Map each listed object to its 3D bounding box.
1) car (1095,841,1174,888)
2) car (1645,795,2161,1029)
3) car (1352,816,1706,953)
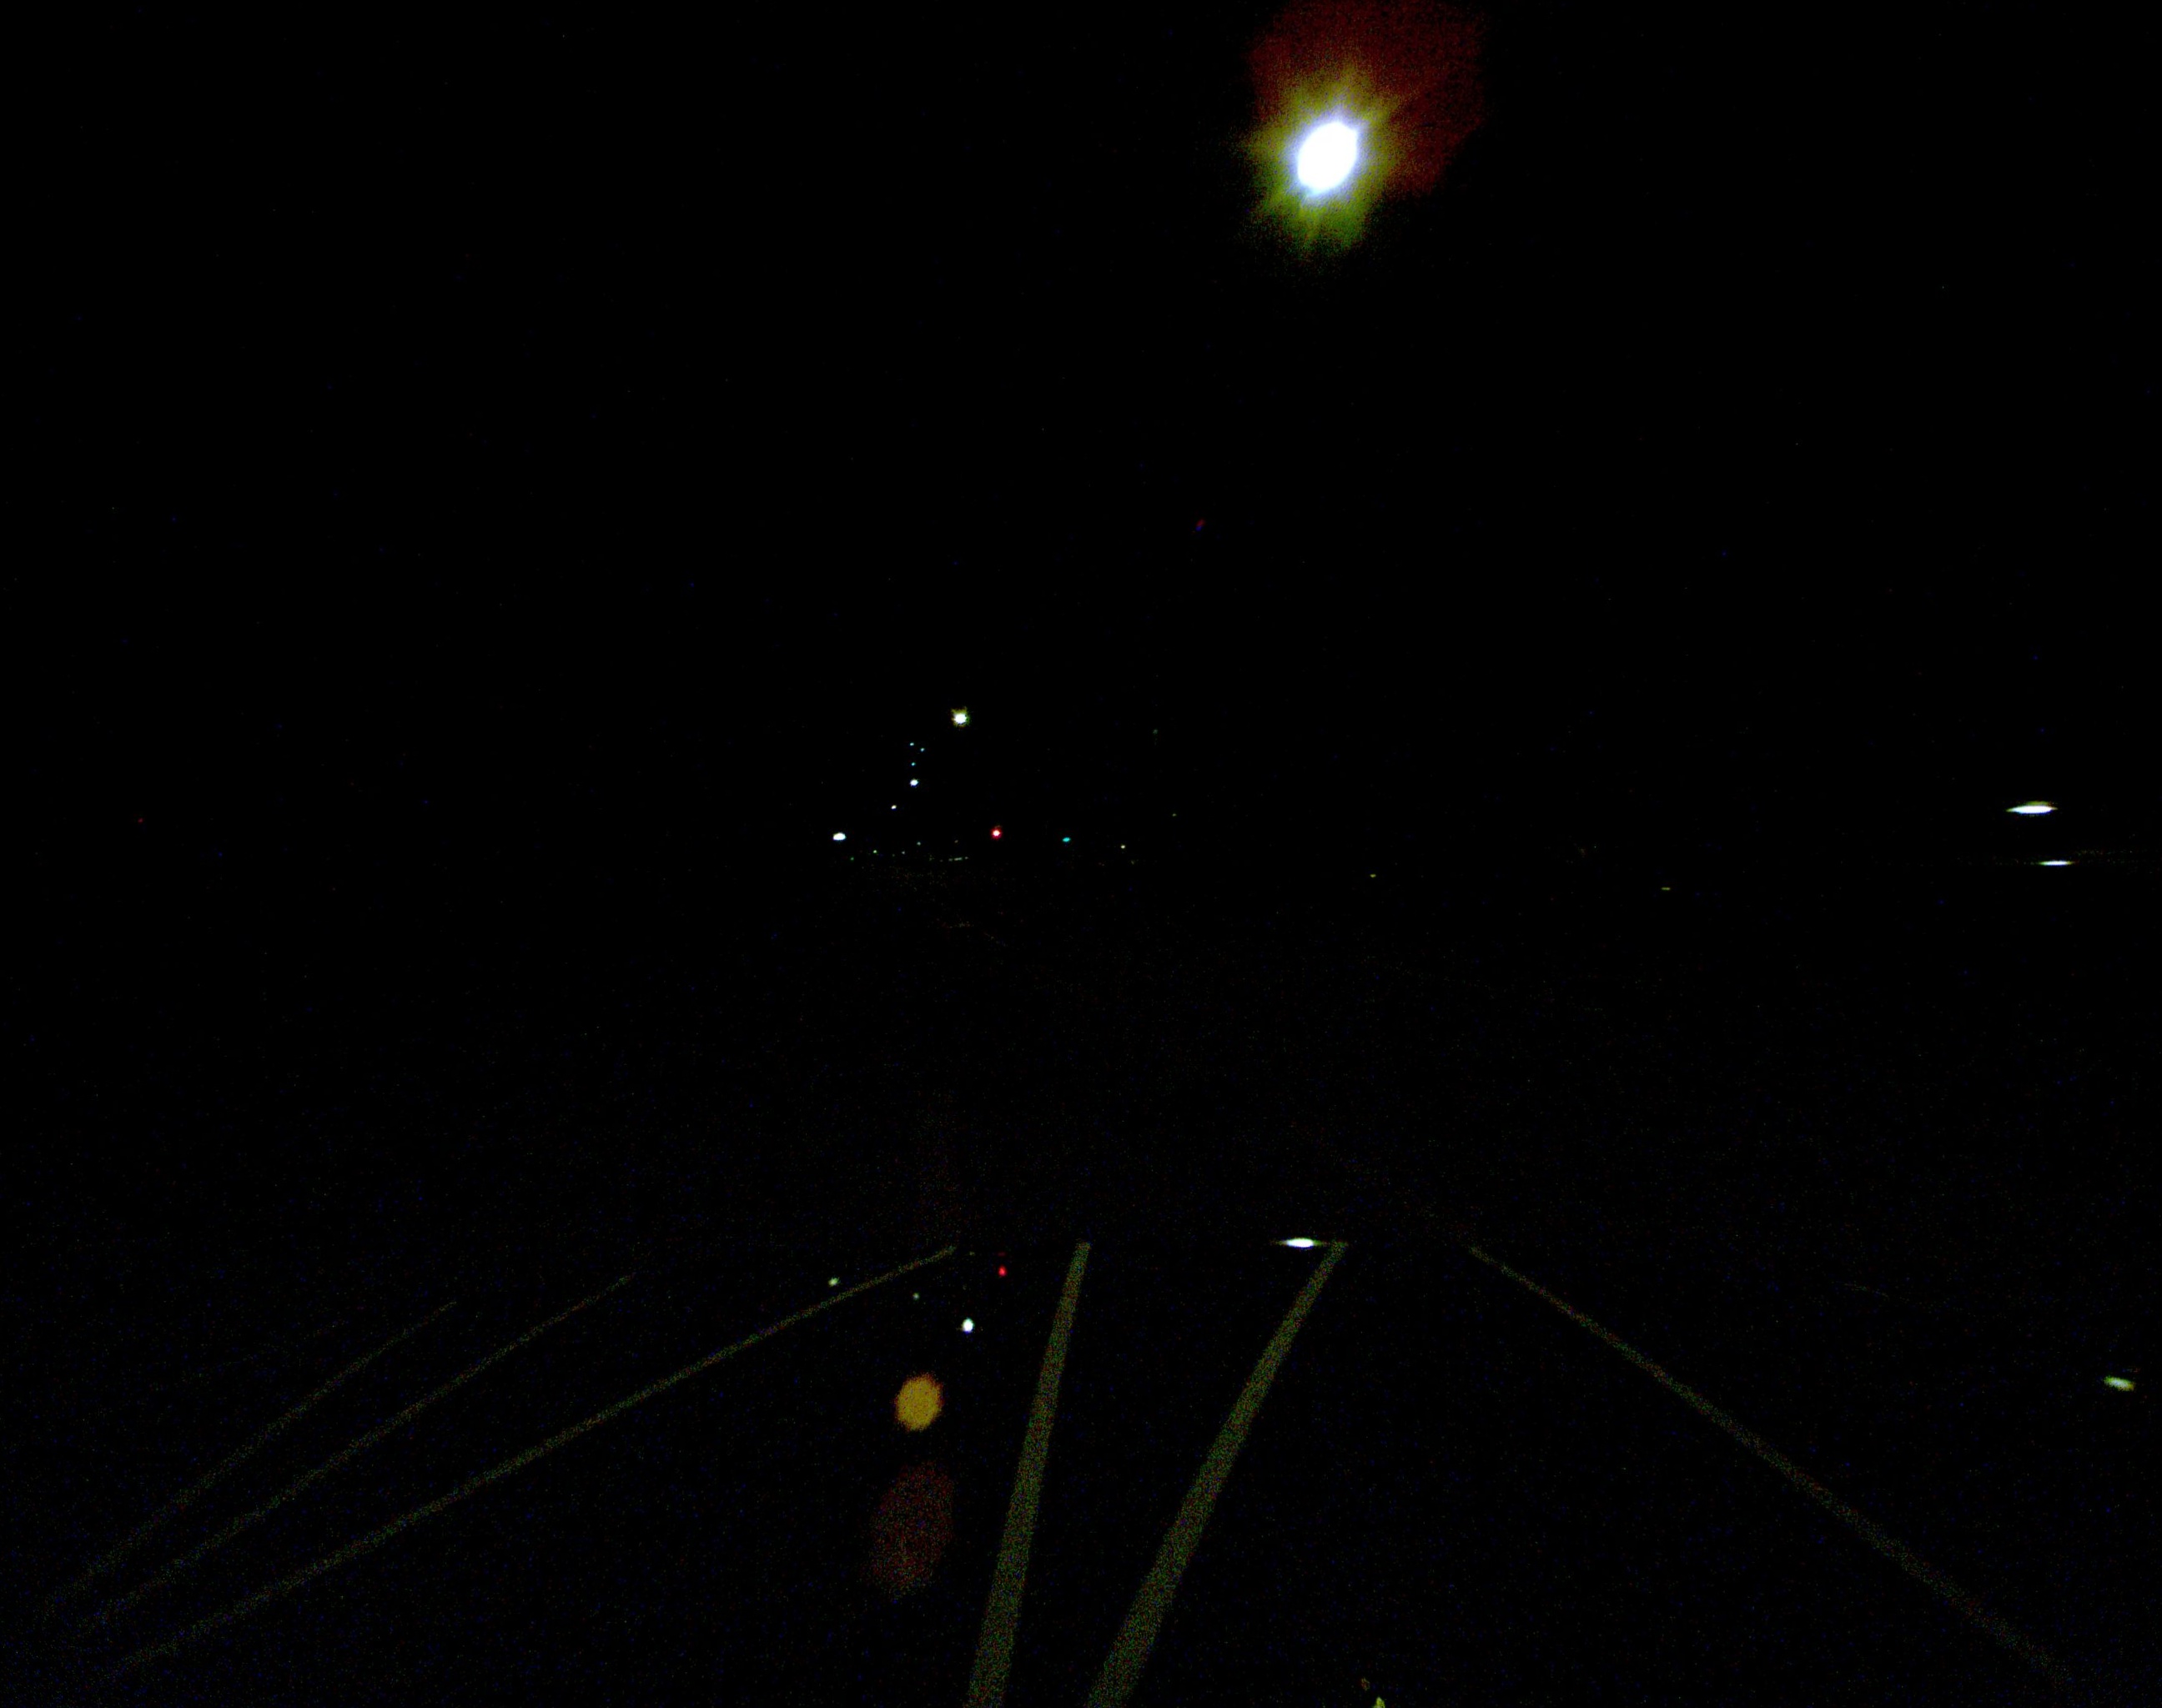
[{"bbox_3d":[1.806,0.348,26.899,1.635,1.456,3.510,-4,1,-15],"label":"car"},{"bbox_3d":[7.395,0.346,6.215,1.557,1.425,4.341,-7,2,-16],"label":"car"},{"bbox_3d":[6.062,0.343,10.983,1.644,1.425,4.343,-7,2,-17],"label":"car"}]
